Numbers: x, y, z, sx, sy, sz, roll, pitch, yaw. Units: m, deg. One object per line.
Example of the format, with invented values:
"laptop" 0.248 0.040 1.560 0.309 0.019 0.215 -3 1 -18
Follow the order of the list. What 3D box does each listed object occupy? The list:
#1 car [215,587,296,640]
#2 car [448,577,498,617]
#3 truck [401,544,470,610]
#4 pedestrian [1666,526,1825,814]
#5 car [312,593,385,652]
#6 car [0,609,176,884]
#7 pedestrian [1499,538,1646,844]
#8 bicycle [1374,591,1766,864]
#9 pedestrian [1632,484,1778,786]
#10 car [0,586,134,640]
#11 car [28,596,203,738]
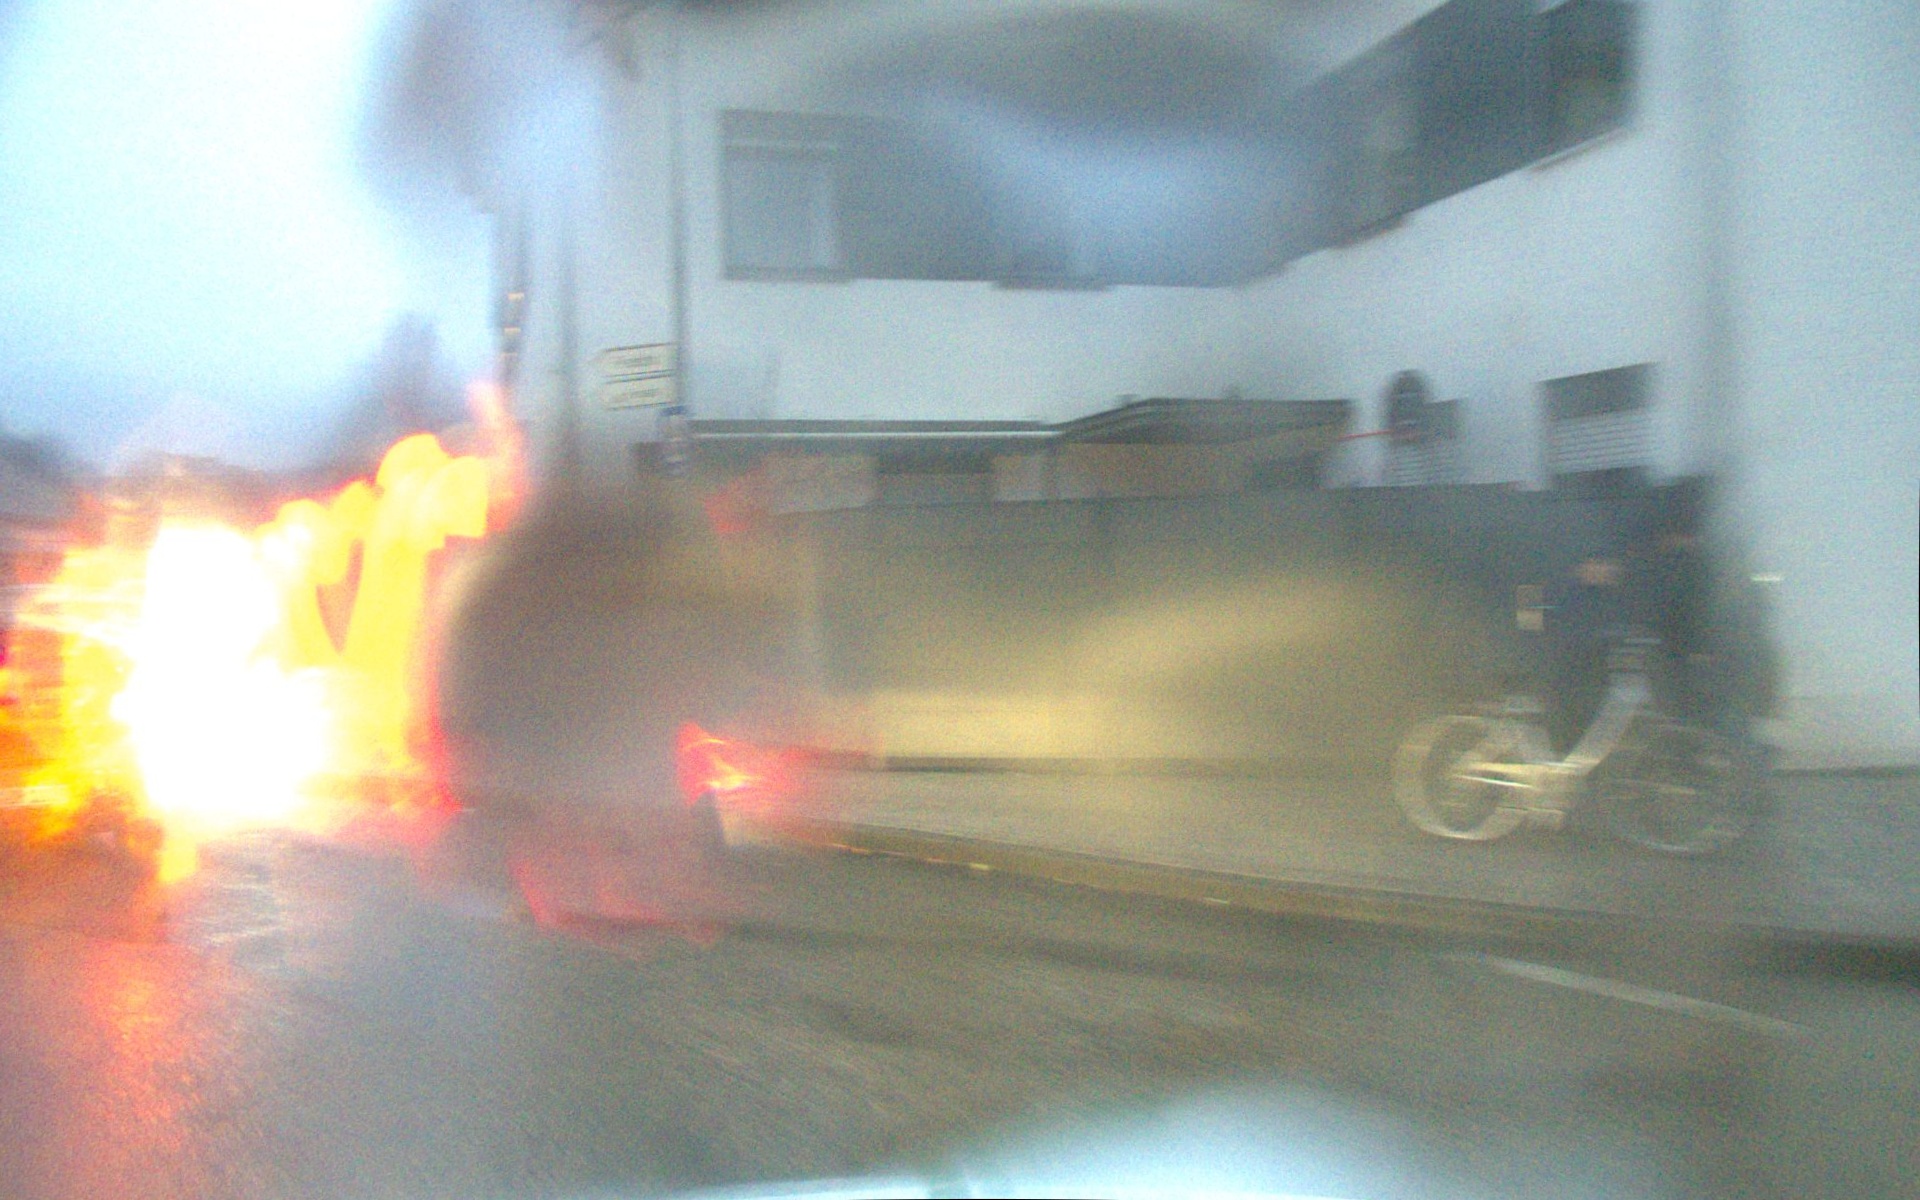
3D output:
"car" -22.688 0.407 53.399 1.711 1.596 4.048 -1 1 -13
"car" -19.381 -0.137 65.932 1.661 1.492 3.707 -1 2 -13
"truck" -25.523 -1.148 80.699 2.668 3.062 5.973 -1 1 -13
"pedestrian" 4.641 0.400 9.806 0.700 1.649 0.583 -1 1 8
"car" -18.945 0.656 51.367 1.693 1.660 3.984 -1 1 -15
"car" -6.285 0.811 10.370 1.698 1.446 3.959 -1 0 -37
"pedestrian" 3.343 0.465 9.014 0.676 1.591 0.609 0 2 27
"bicycle" 3.227 0.633 8.795 1.898 1.318 0.551 0 3 26
"pedestrian" 4.727 0.206 10.532 0.700 1.863 0.638 -1 3 8
"car" -29.838 0.410 54.652 4.241 1.668 1.837 -1 1 -18
"car" -11.369 0.816 22.497 1.891 1.643 3.920 -2 2 -25
